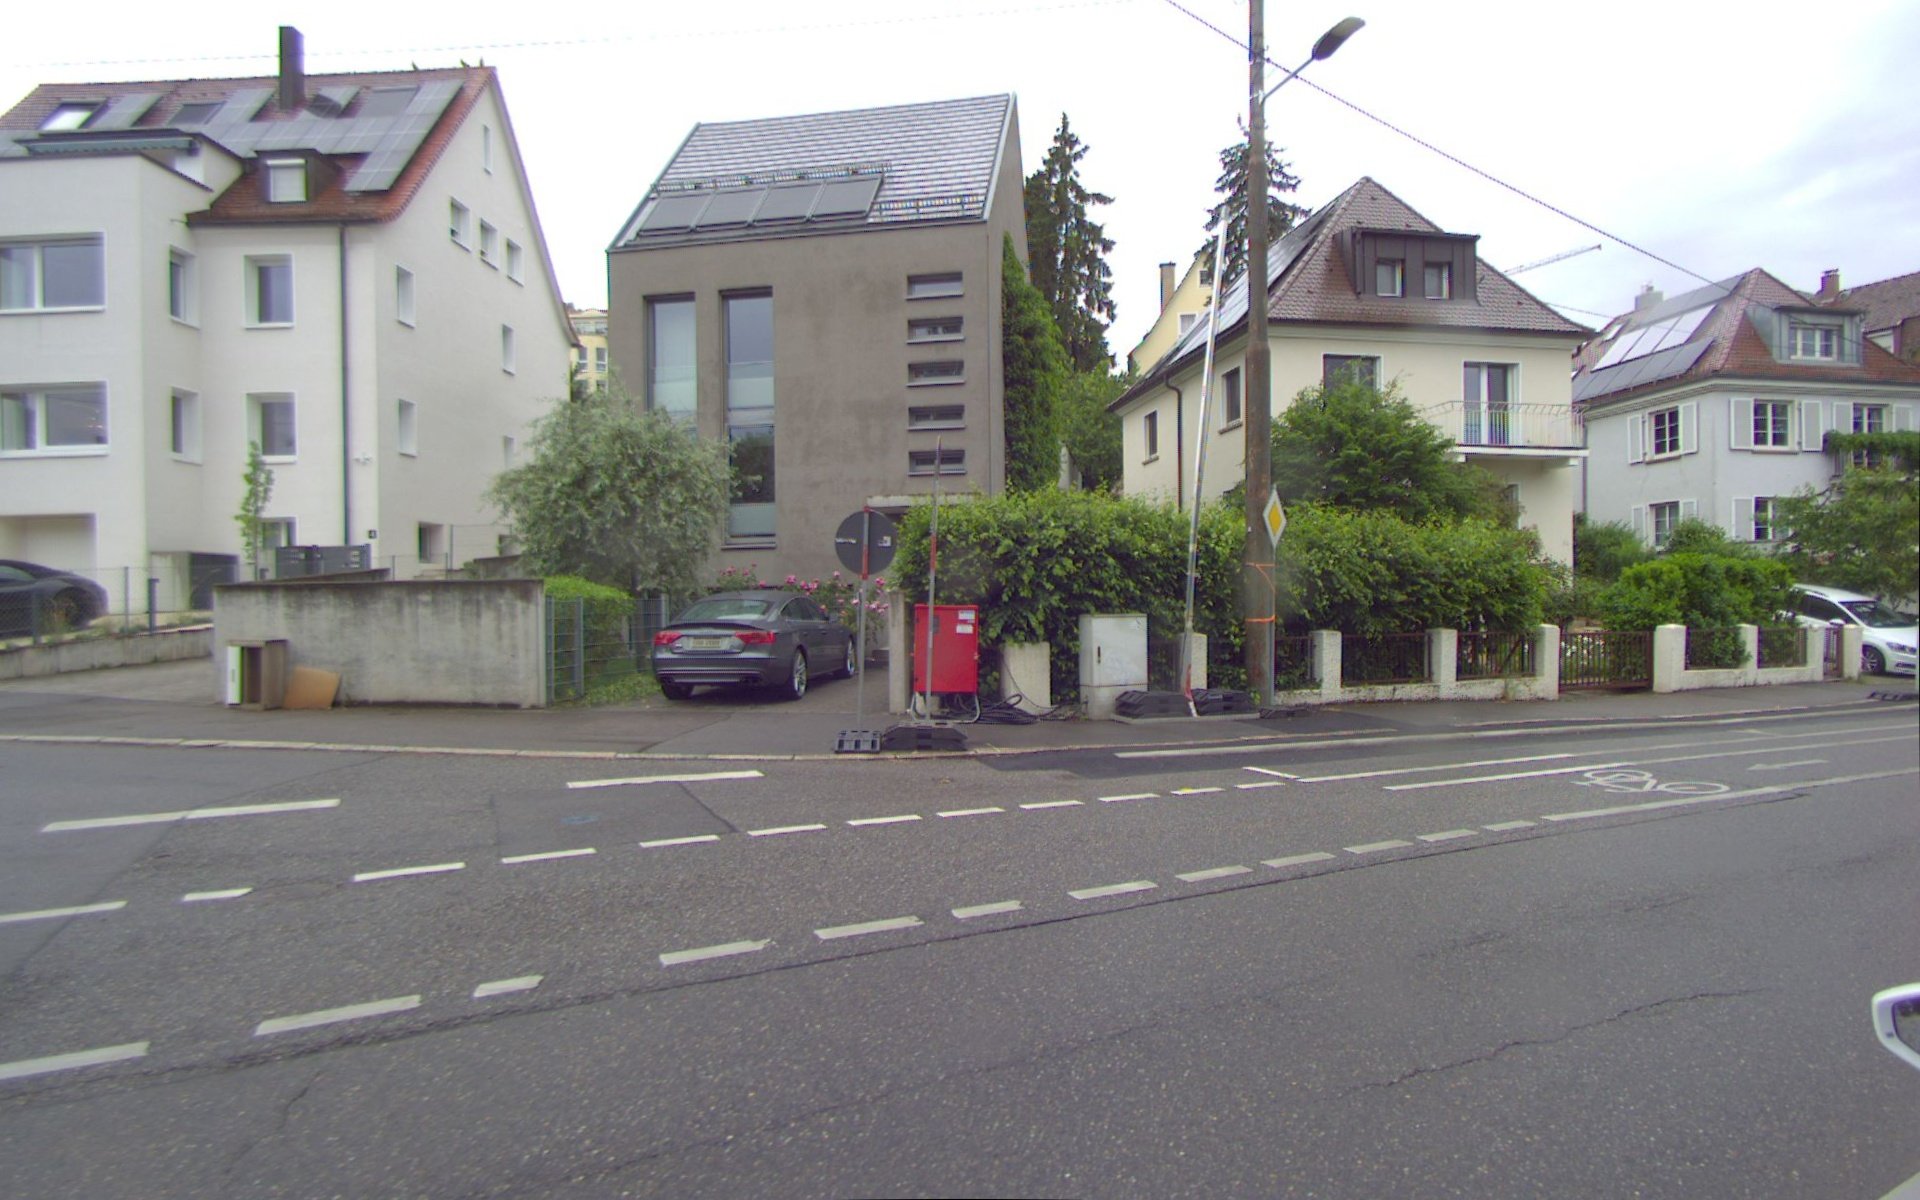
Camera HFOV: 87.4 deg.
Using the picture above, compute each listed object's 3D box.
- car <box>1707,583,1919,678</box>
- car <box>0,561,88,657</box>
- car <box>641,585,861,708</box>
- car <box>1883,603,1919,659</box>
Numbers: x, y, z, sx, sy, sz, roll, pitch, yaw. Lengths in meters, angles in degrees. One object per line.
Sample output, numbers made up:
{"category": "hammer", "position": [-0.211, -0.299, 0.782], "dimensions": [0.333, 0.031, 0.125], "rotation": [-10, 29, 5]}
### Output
{"category": "car", "position": [20.465, 0.676, 23.940], "dimensions": [1.801, 2.040, 3.985], "rotation": [1, 0, -17]}
{"category": "car", "position": [-16.084, 0.126, 15.556], "dimensions": [1.700, 1.528, 3.820], "rotation": [1, 0, 3]}
{"category": "car", "position": [-2.719, 0.556, 14.060], "dimensions": [1.802, 1.463, 4.002], "rotation": [0, 0, 7]}
{"category": "car", "position": [27.390, 0.920, 26.602], "dimensions": [1.732, 1.506, 3.983], "rotation": [3, 0, -18]}
